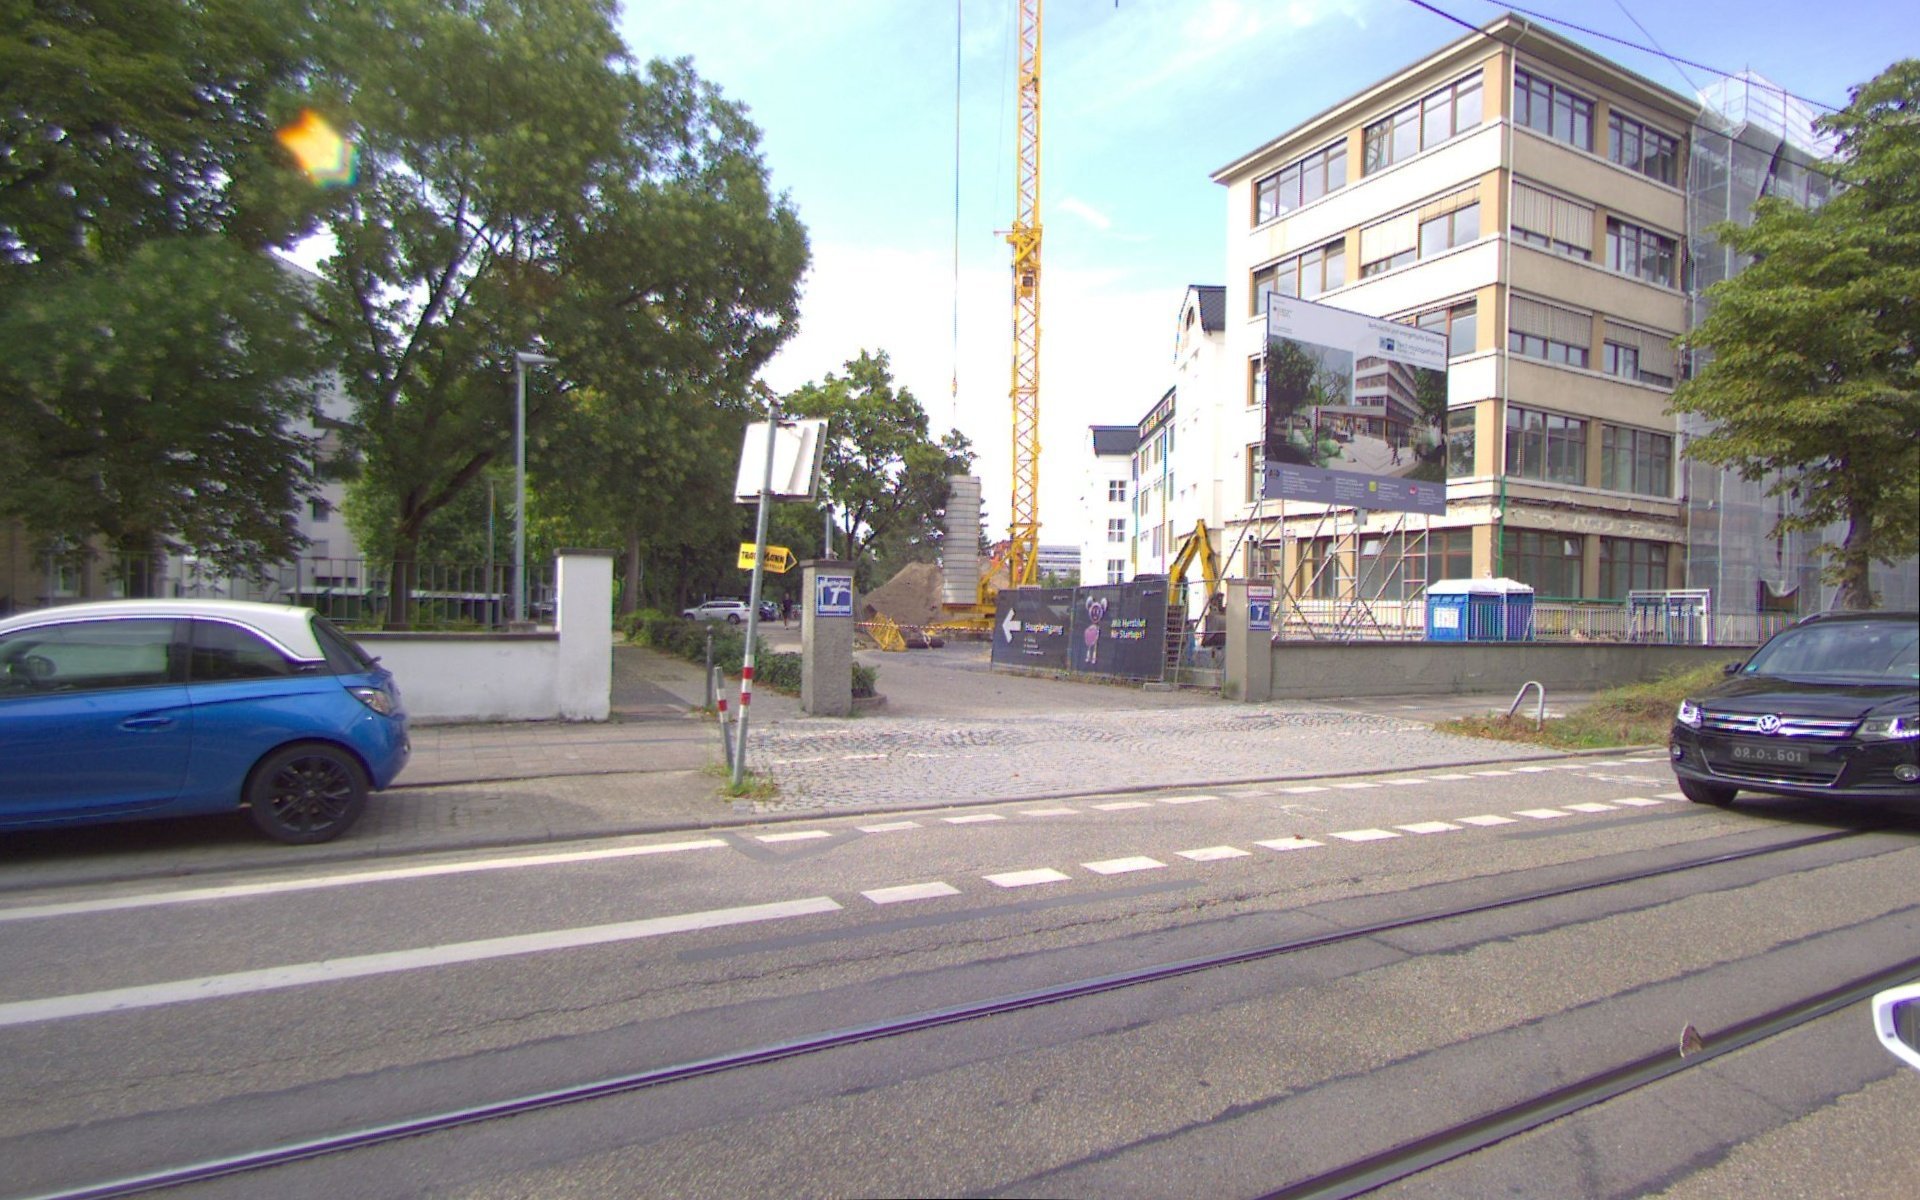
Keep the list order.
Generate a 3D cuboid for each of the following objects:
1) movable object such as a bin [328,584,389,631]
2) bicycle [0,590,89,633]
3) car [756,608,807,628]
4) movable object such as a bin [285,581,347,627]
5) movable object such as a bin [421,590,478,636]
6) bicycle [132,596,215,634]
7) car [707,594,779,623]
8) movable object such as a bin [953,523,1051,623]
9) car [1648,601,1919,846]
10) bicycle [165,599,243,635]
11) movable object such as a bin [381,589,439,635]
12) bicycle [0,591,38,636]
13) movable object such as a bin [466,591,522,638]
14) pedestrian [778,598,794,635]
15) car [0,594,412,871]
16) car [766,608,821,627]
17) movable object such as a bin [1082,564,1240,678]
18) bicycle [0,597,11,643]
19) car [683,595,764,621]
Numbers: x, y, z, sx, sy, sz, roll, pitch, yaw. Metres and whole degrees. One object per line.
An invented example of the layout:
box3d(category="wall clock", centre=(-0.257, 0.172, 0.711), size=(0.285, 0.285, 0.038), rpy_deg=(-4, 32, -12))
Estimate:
box3d(category="movable object such as a bin", centre=(-19.512, 0.237, 32.621), size=(1.259, 1.449, 1.122), rpy_deg=(2, 0, -1))
box3d(category="bicycle", centre=(-23.931, 0.303, 26.033), size=(1.952, 1.057, 0.590), rpy_deg=(1, 0, -27))
box3d(category="car", centre=(-15.576, 1.571, 87.724), size=(4.267, 1.564, 1.751), rpy_deg=(2, 0, -7))
box3d(category="movable object such as a bin", centre=(-20.871, 0.133, 32.576), size=(1.259, 1.449, 1.122), rpy_deg=(2, 0, -1))
box3d(category="movable object such as a bin", centre=(-16.600, 0.421, 32.708), size=(1.259, 1.449, 1.122), rpy_deg=(2, 0, -1))
box3d(category="bicycle", centre=(-23.612, 0.450, 30.165), size=(1.940, 1.057, 0.594), rpy_deg=(2, 0, -4))
box3d(category="car", centre=(-16.136, 0.646, 74.966), size=(4.964, 1.979, 1.999), rpy_deg=(2, 0, -3))
box3d(category="movable object such as a bin", centre=(3.289, -1.769, 73.858), size=(3.781, 6.758, 10.987), rpy_deg=(2, 0, 21))
box3d(category="car", centre=(7.971, 0.891, 8.615), size=(4.326, 1.650, 1.724), rpy_deg=(1, -1, -30))
box3d(category="bicycle", centre=(-23.715, 0.537, 31.521), size=(1.940, 1.057, 0.594), rpy_deg=(2, 0, -4))
box3d(category="movable object such as a bin", centre=(-17.937, 0.379, 32.799), size=(1.259, 1.449, 1.122), rpy_deg=(2, 0, -1))
box3d(category="bicycle", centre=(-23.552, 0.302, 24.245), size=(1.940, 1.057, 0.594), rpy_deg=(2, 0, -4))
box3d(category="movable object such as a bin", centre=(-15.084, 0.458, 32.523), size=(1.259, 1.449, 1.122), rpy_deg=(2, 0, -1))
box3d(category="pedestrian", centre=(-8.669, 0.800, 50.058), size=(0.736, 1.813, 0.730), rpy_deg=(2, 0, -6))
box3d(category="car", centre=(-5.447, 0.724, 6.243), size=(3.559, 1.484, 1.620), rpy_deg=(1, 0, -30))
box3d(category="car", centre=(-15.060, 1.585, 91.039), size=(4.719, 1.508, 1.998), rpy_deg=(2, 0, -7))
box3d(category="movable object such as a bin", centre=(4.668, 0.491, 23.778), size=(2.459, 2.475, 3.049), rpy_deg=(2, 0, -18))
box3d(category="bicycle", centre=(-23.477, 0.447, 23.463), size=(1.940, 1.057, 0.594), rpy_deg=(2, 0, -4))
box3d(category="car", centre=(-14.930, 0.508, 63.657), size=(4.719, 1.508, 1.998), rpy_deg=(2, 0, -7))
